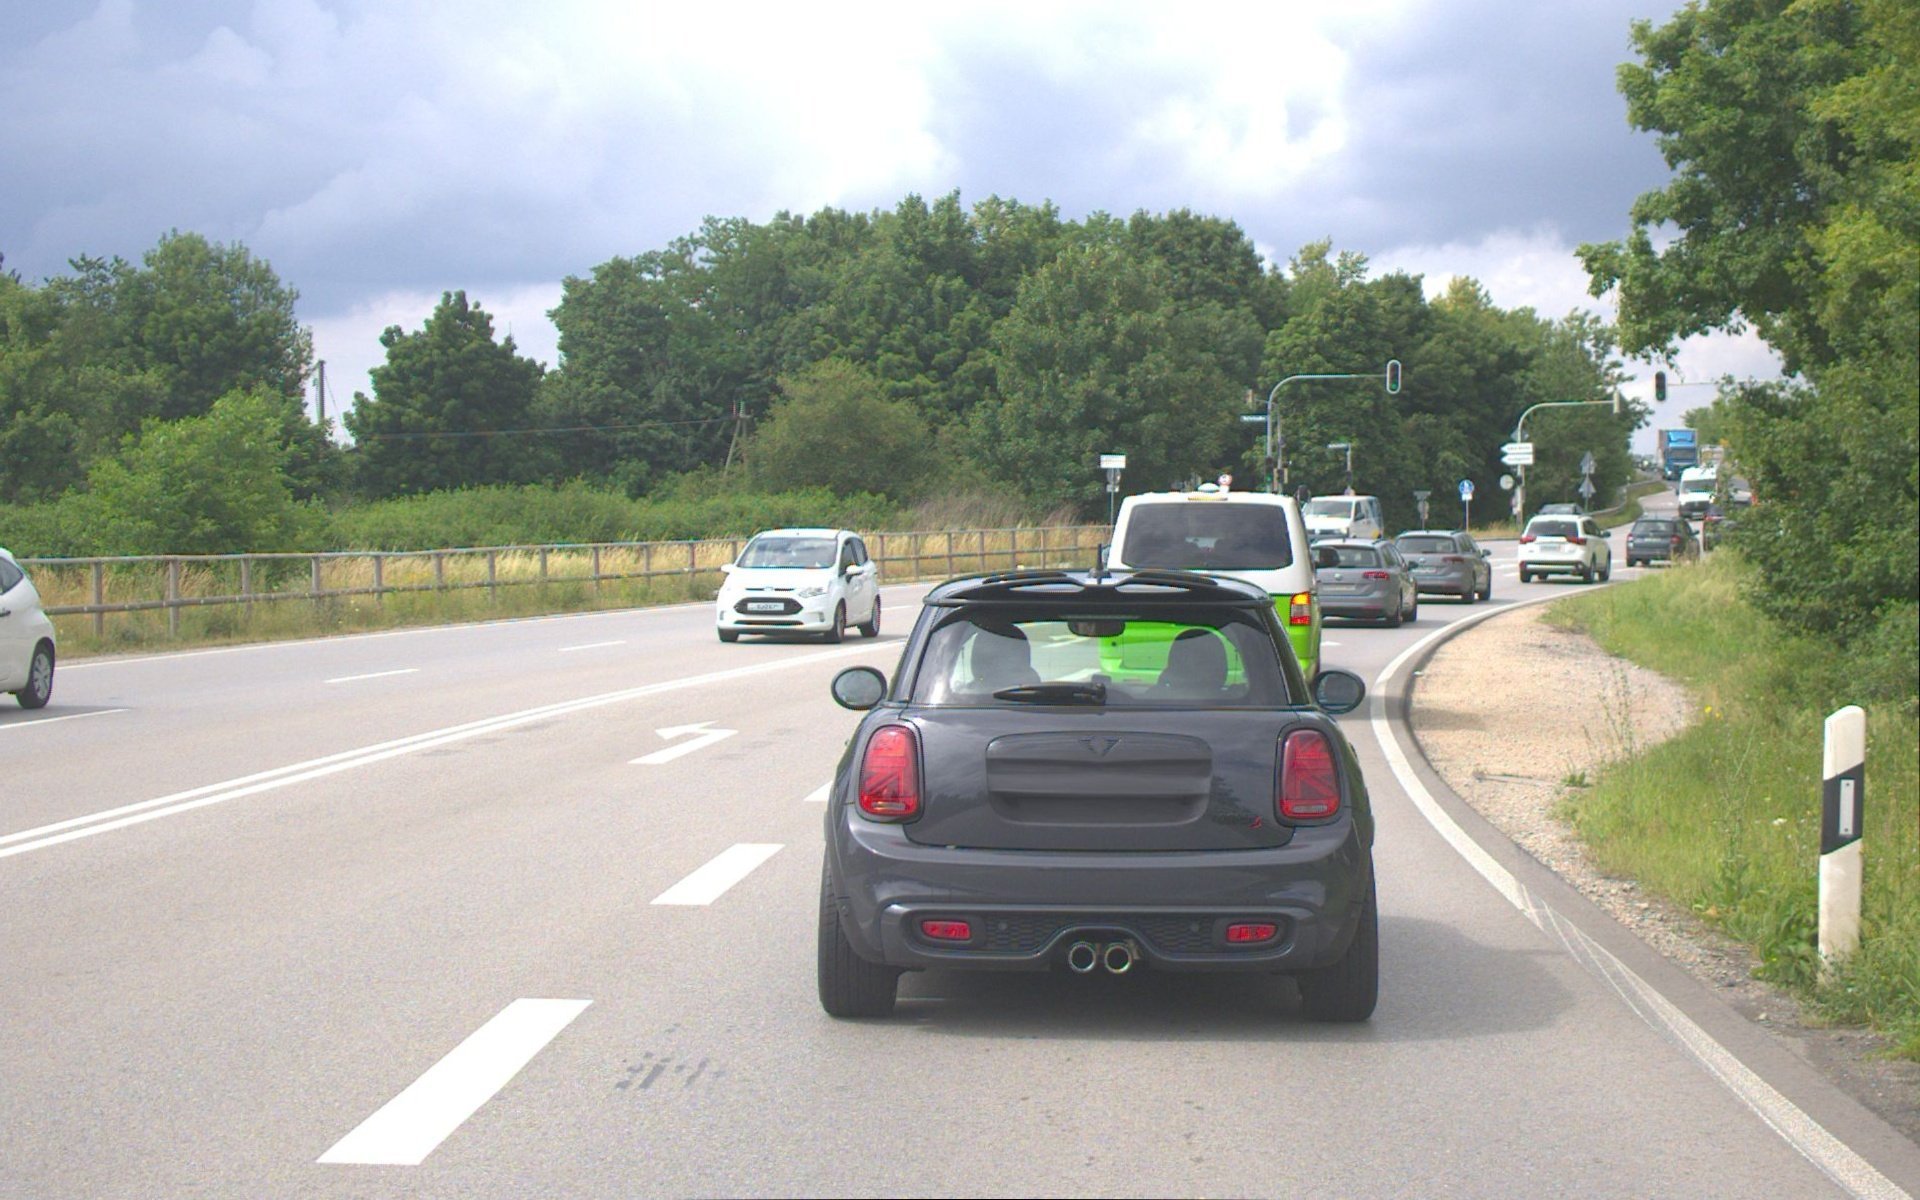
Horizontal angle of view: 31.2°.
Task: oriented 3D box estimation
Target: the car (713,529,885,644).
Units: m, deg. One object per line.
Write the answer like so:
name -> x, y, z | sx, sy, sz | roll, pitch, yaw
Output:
car -> -2.230, -0.215, 48.591 | 1.731, 1.513, 3.999 | 2, 1, 7

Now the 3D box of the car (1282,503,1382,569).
car -> 11.635, -2.011, 107.257 | 1.995, 2.007, 4.662 | 1, 1, 20

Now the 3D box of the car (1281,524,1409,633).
car -> 6.339, -0.360, 56.898 | 1.994, 1.678, 3.999 | 2, 1, 6

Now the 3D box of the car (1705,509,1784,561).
car -> 26.449, -2.206, 115.835 | 1.996, 1.690, 4.481 | 1, 2, 21

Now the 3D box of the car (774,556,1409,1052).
car -> 0.489, 0.580, 12.032 | 1.845, 1.423, 3.840 | 1, 0, 3

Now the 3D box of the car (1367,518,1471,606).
car -> 9.329, -0.766, 69.822 | 1.994, 1.678, 3.976 | 2, 1, 8

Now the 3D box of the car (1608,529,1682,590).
car -> 19.830, -1.176, 99.620 | 1.994, 1.678, 3.998 | 2, 1, 10

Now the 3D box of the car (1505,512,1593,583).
car -> 14.629, -1.288, 85.229 | 1.994, 1.678, 3.998 | 2, 1, 11

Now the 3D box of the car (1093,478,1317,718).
car -> 2.212, -0.041, 30.803 | 1.845, 1.980, 3.840 | 1, 1, 5

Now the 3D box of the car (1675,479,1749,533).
car -> 38.008, -4.738, 173.552 | 2.436, 2.665, 6.880 | 1, 2, 22

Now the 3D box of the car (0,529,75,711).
car -> -8.814, 0.154, 28.321 | 1.876, 1.484, 3.743 | 1, 1, 3
